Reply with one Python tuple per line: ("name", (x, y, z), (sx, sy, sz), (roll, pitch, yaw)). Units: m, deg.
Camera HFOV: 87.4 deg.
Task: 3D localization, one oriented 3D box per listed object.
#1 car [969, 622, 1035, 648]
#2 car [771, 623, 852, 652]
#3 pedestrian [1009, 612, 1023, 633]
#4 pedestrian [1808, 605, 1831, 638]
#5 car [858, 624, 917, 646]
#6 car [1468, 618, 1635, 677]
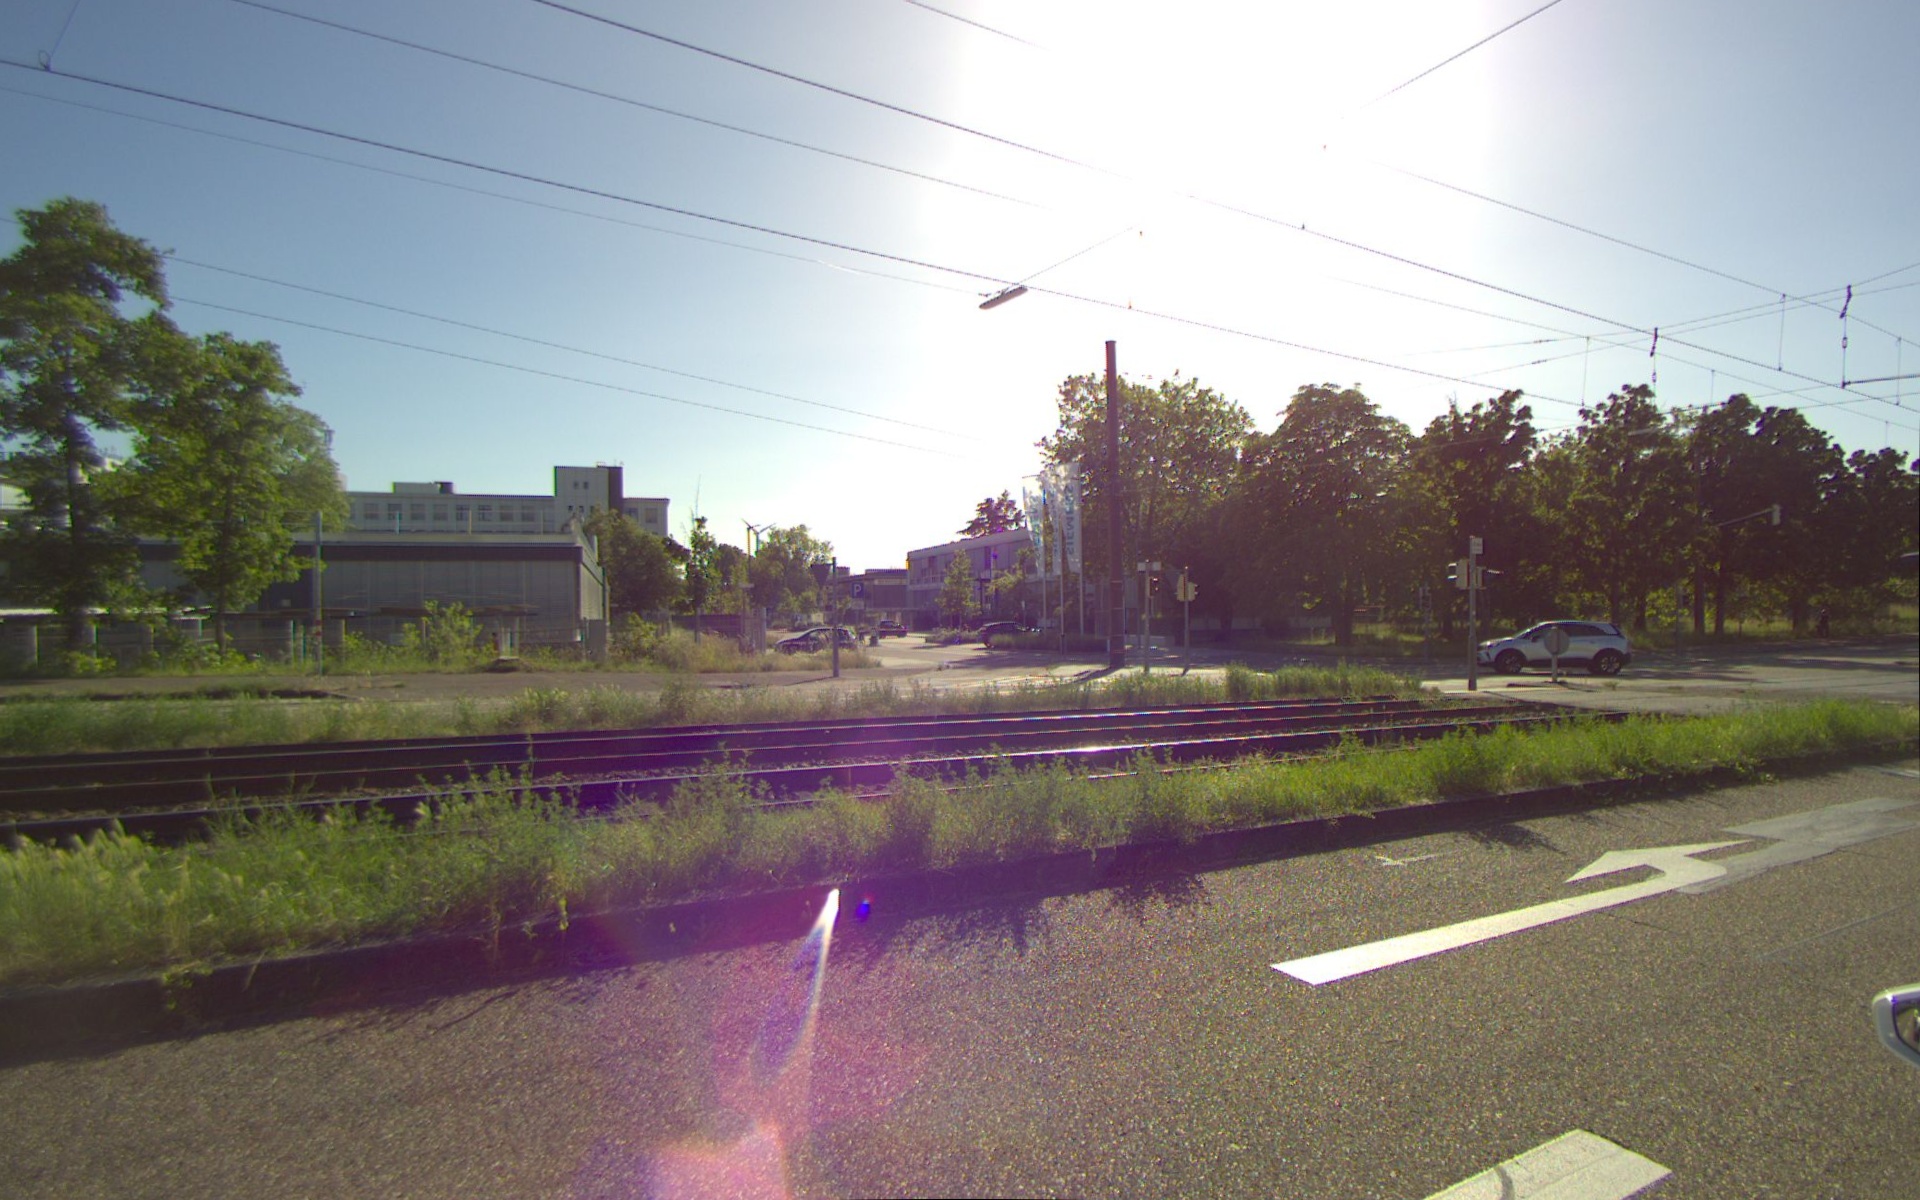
("car", (2.579, 2.132, 61.694), (3.818, 1.508, 1.682), (1, 0, -32))
("car", (-7.638, 1.915, 51.683), (3.806, 1.453, 1.687), (1, 0, -23))
("pedestrian", (4.112, 1.675, 74.082), (0.809, 1.549, 0.763), (1, 0, -14))
("pedestrian", (52.818, 1.306, 61.732), (0.853, 2.040, 0.835), (1, 0, -32))
("car", (-5.178, 2.507, 71.770), (3.893, 1.471, 1.688), (1, 0, -21))
("car", (17.981, 1.401, 30.775), (4.172, 1.628, 1.856), (1, 0, 23))
